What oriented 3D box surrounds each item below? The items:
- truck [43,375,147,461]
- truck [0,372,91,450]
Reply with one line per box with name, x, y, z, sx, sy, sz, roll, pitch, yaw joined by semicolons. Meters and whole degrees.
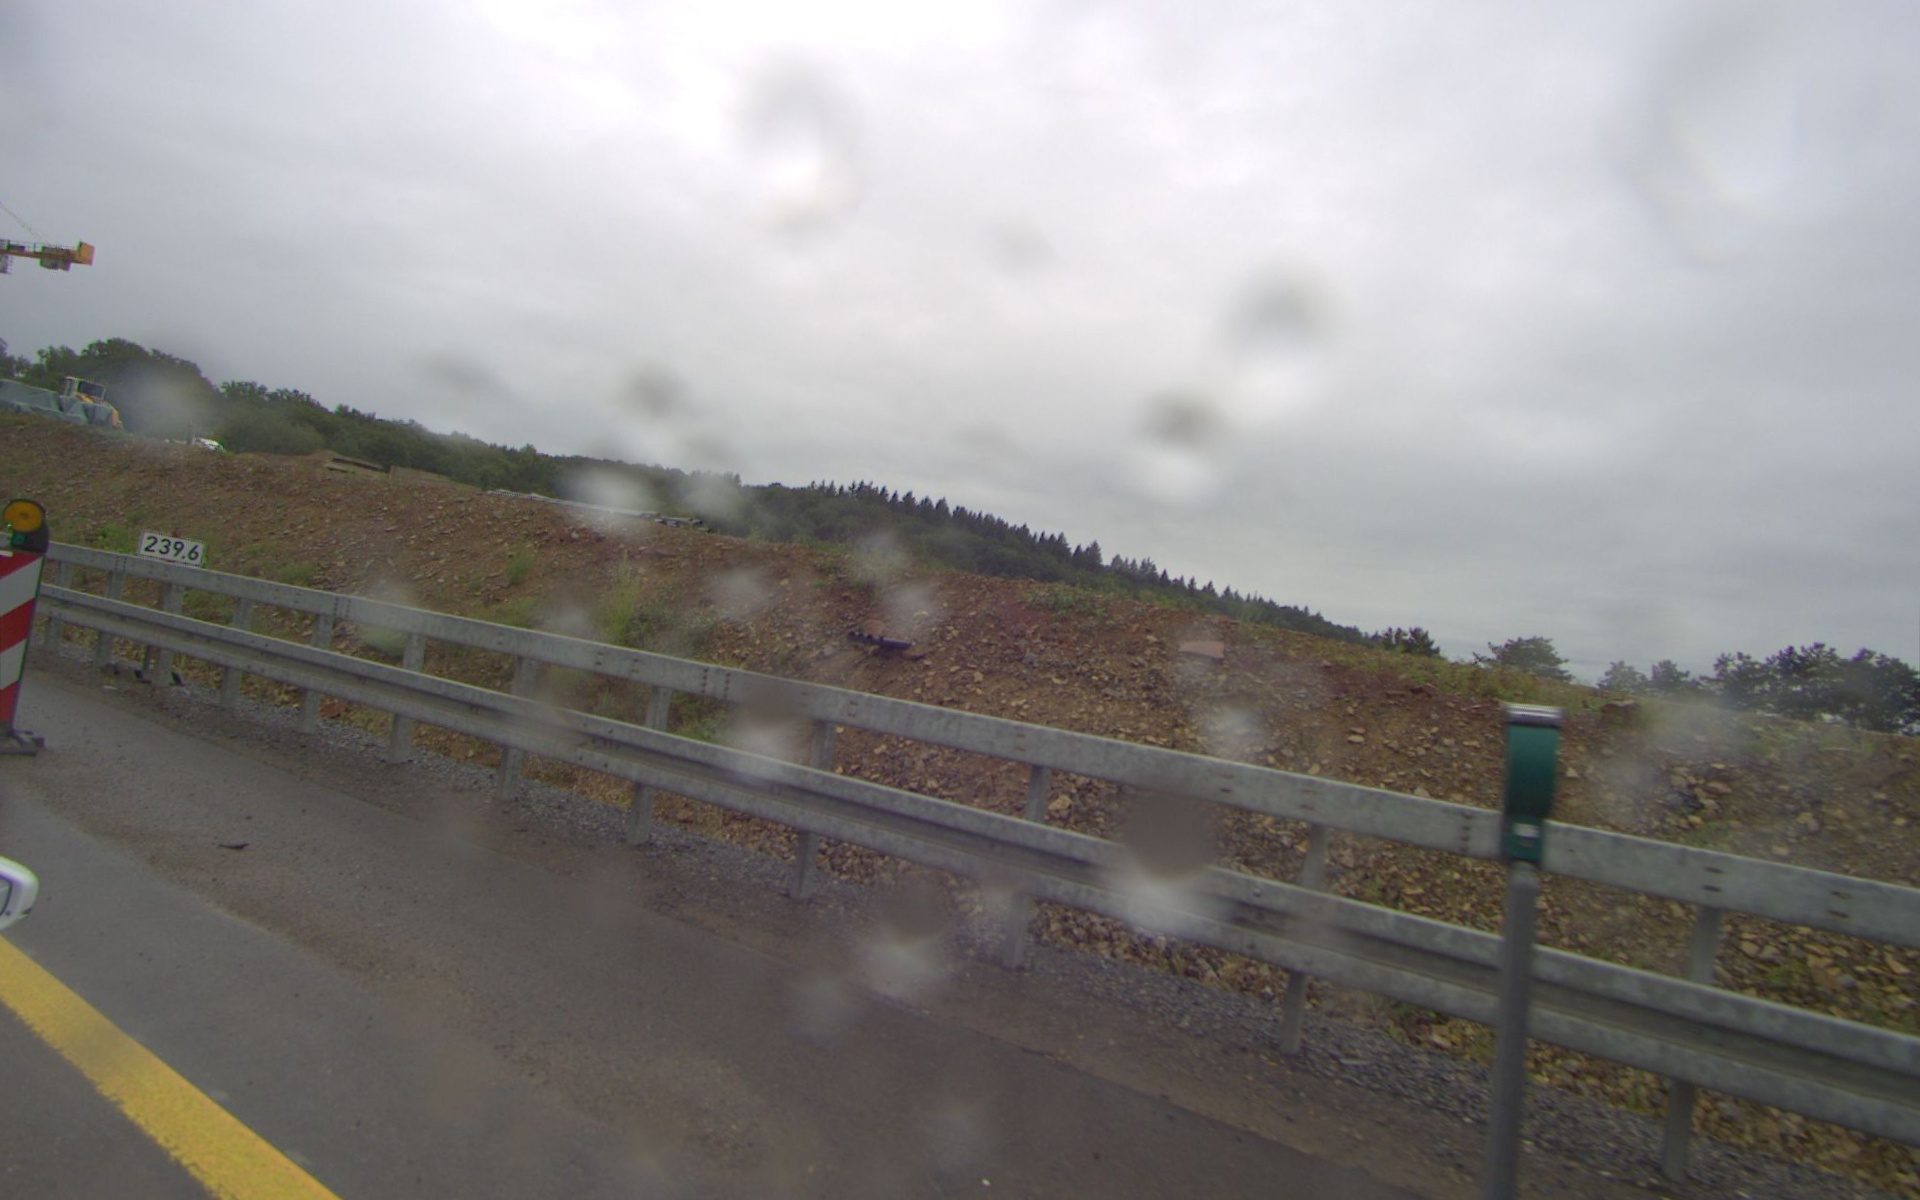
truck;-49.541;-10.412;57.578;5.878;4.267;2.378;7;-1;30
truck;-48.188;-9.566;51.204;8.813;2.908;3.401;7;-1;33
